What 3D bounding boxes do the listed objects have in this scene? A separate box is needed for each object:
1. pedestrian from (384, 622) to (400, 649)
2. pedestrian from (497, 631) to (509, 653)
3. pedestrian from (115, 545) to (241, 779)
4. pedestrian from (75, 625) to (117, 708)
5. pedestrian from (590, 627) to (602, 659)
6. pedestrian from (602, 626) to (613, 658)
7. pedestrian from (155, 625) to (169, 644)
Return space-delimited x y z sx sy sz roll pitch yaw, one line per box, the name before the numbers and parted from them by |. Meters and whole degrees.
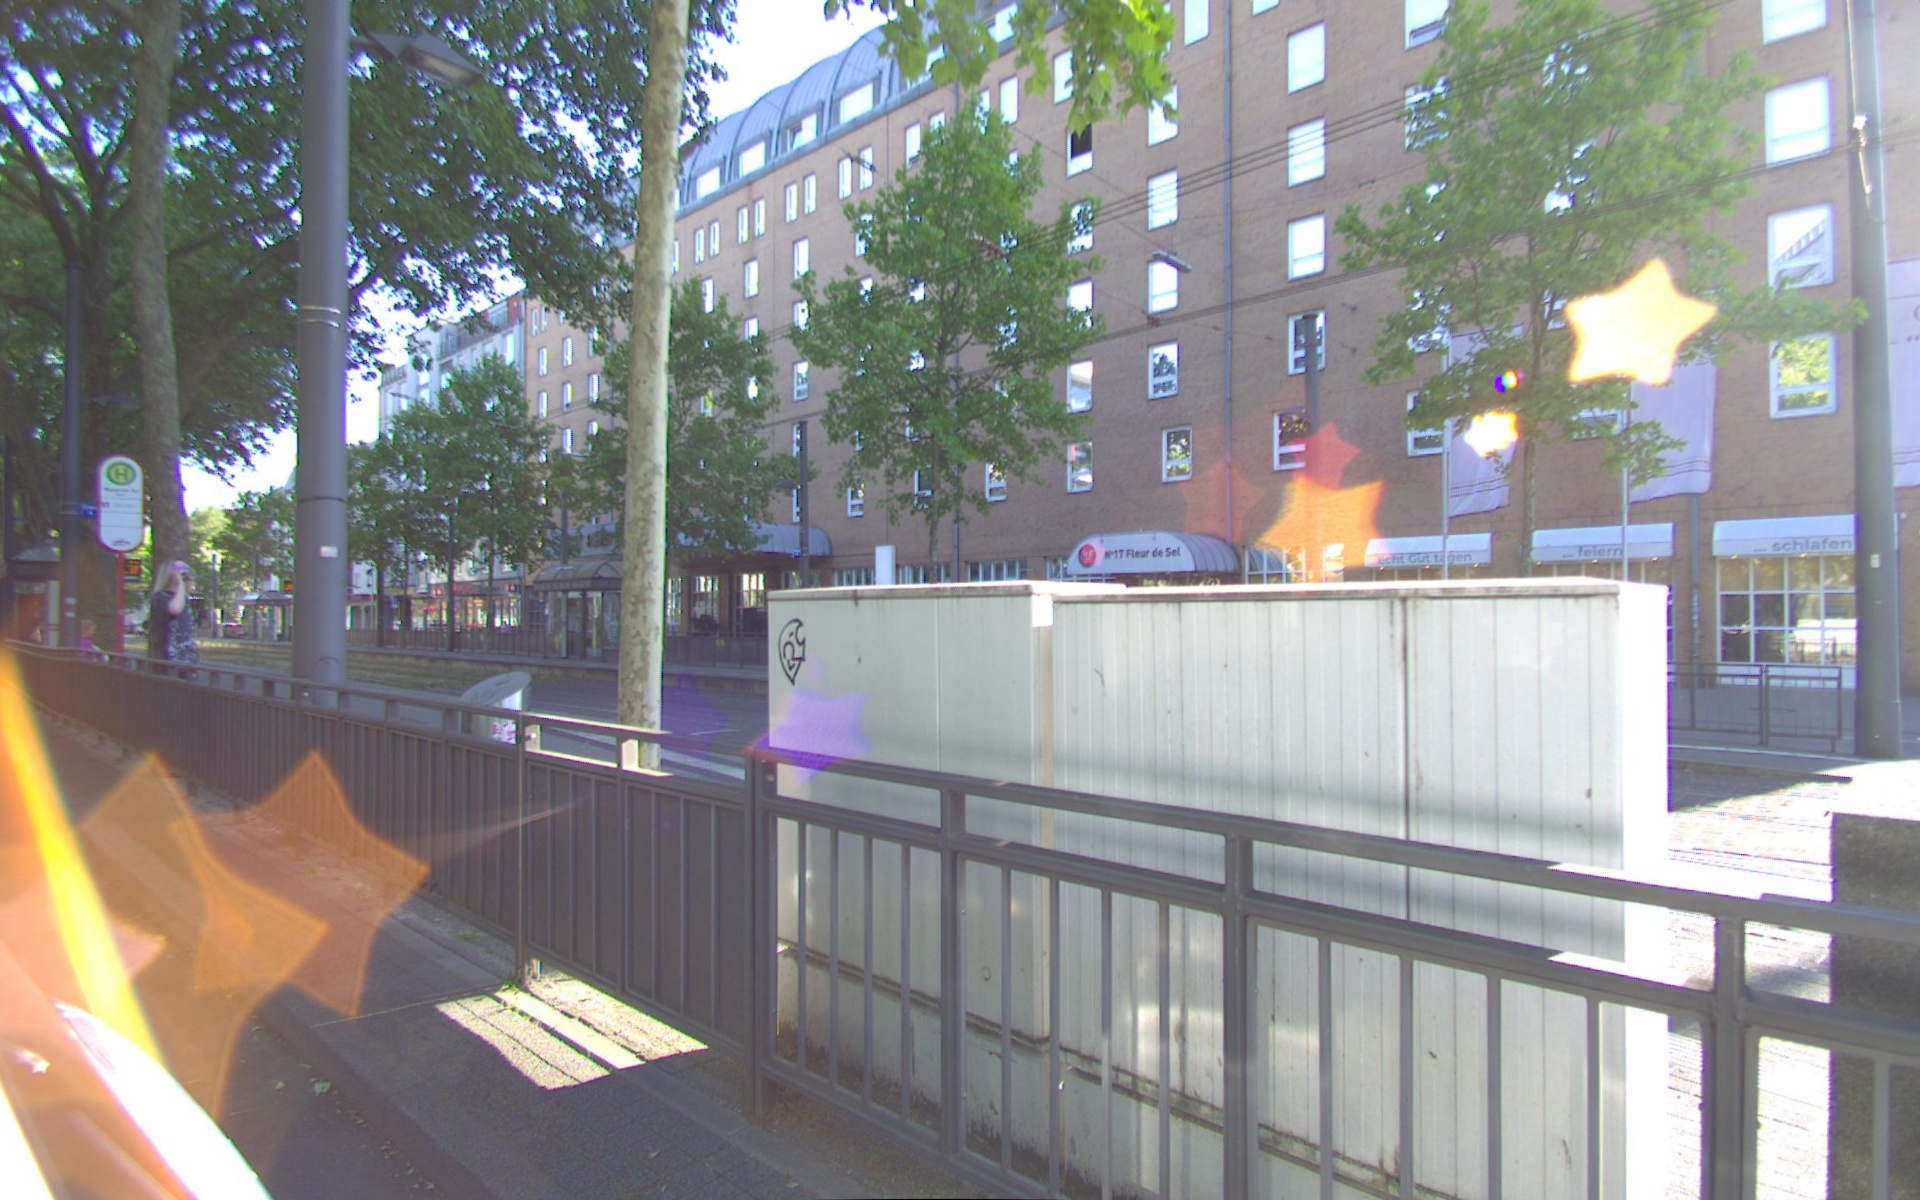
pedestrian | -43.003 2.670 76.649 0.763 2.029 0.796 -2 -2 41
pedestrian | -29.535 2.721 65.401 0.516 1.447 0.512 -2 -2 44
pedestrian | -6.637 0.497 8.606 0.619 1.897 0.602 1 0 22
pedestrian | -13.961 1.063 16.356 0.493 1.325 0.419 1 -2 -41
pedestrian | -17.244 2.019 47.917 0.431 1.518 0.660 1 -2 -27
pedestrian | -16.779 1.993 48.171 0.431 1.532 0.660 1 -2 -27
pedestrian | -86.714 3.701 109.941 1.047 2.029 1.001 -2 -2 44
